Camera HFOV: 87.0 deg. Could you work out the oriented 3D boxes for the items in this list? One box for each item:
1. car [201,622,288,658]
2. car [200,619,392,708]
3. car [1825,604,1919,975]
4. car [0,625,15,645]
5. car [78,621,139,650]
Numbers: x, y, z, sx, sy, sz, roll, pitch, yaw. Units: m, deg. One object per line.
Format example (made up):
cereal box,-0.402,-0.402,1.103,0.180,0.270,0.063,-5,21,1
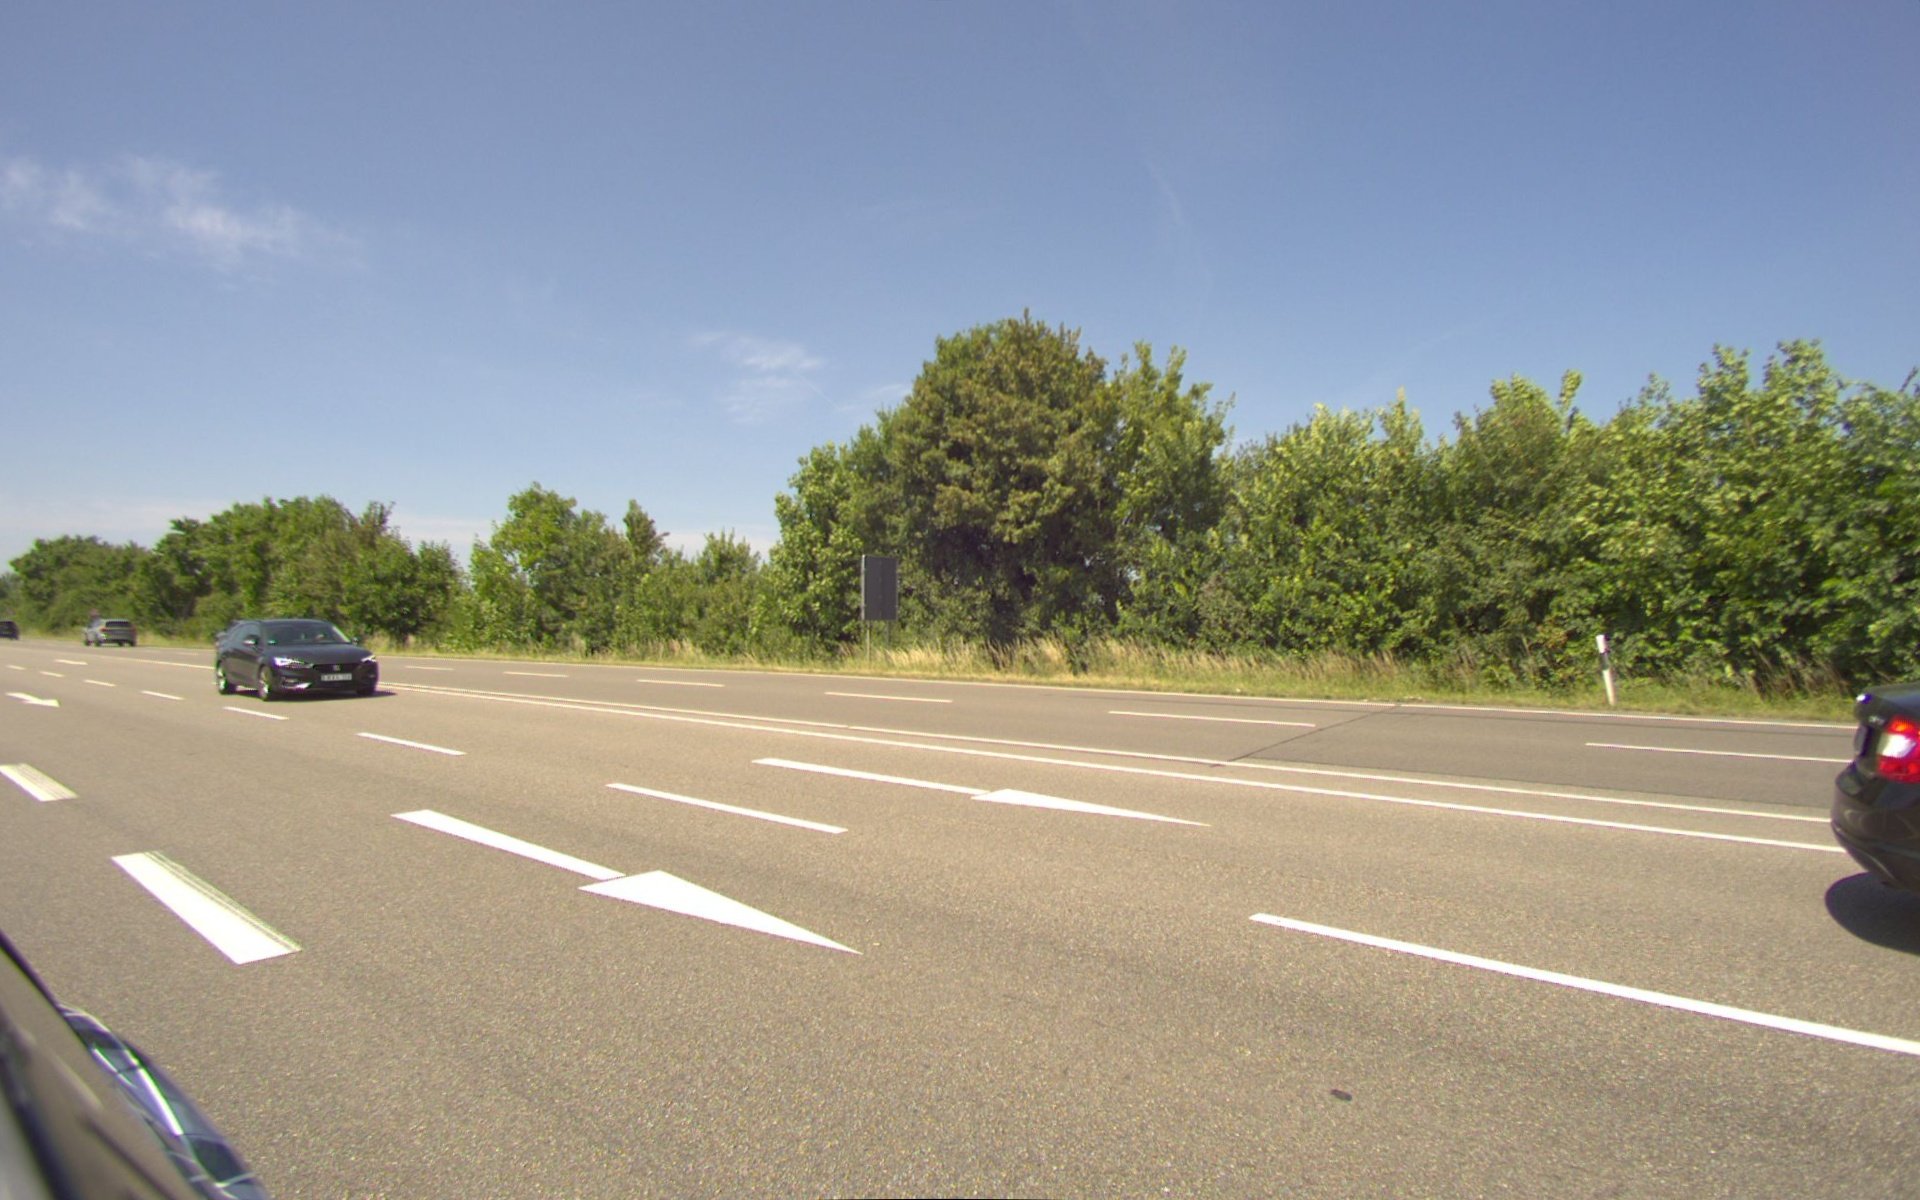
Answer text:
car,-30.545,1.664,43.160,4.526,1.409,1.860,-1,-1,39
car,-12.664,1.110,19.192,4.523,1.458,1.869,-1,-1,41
car,5.747,0.698,3.246,4.464,1.422,1.657,-1,-1,40
car,-73.840,2.682,77.544,3.554,1.499,1.629,-1,-1,39
car,-51.568,2.146,61.277,4.564,1.652,2.008,-1,-1,39
